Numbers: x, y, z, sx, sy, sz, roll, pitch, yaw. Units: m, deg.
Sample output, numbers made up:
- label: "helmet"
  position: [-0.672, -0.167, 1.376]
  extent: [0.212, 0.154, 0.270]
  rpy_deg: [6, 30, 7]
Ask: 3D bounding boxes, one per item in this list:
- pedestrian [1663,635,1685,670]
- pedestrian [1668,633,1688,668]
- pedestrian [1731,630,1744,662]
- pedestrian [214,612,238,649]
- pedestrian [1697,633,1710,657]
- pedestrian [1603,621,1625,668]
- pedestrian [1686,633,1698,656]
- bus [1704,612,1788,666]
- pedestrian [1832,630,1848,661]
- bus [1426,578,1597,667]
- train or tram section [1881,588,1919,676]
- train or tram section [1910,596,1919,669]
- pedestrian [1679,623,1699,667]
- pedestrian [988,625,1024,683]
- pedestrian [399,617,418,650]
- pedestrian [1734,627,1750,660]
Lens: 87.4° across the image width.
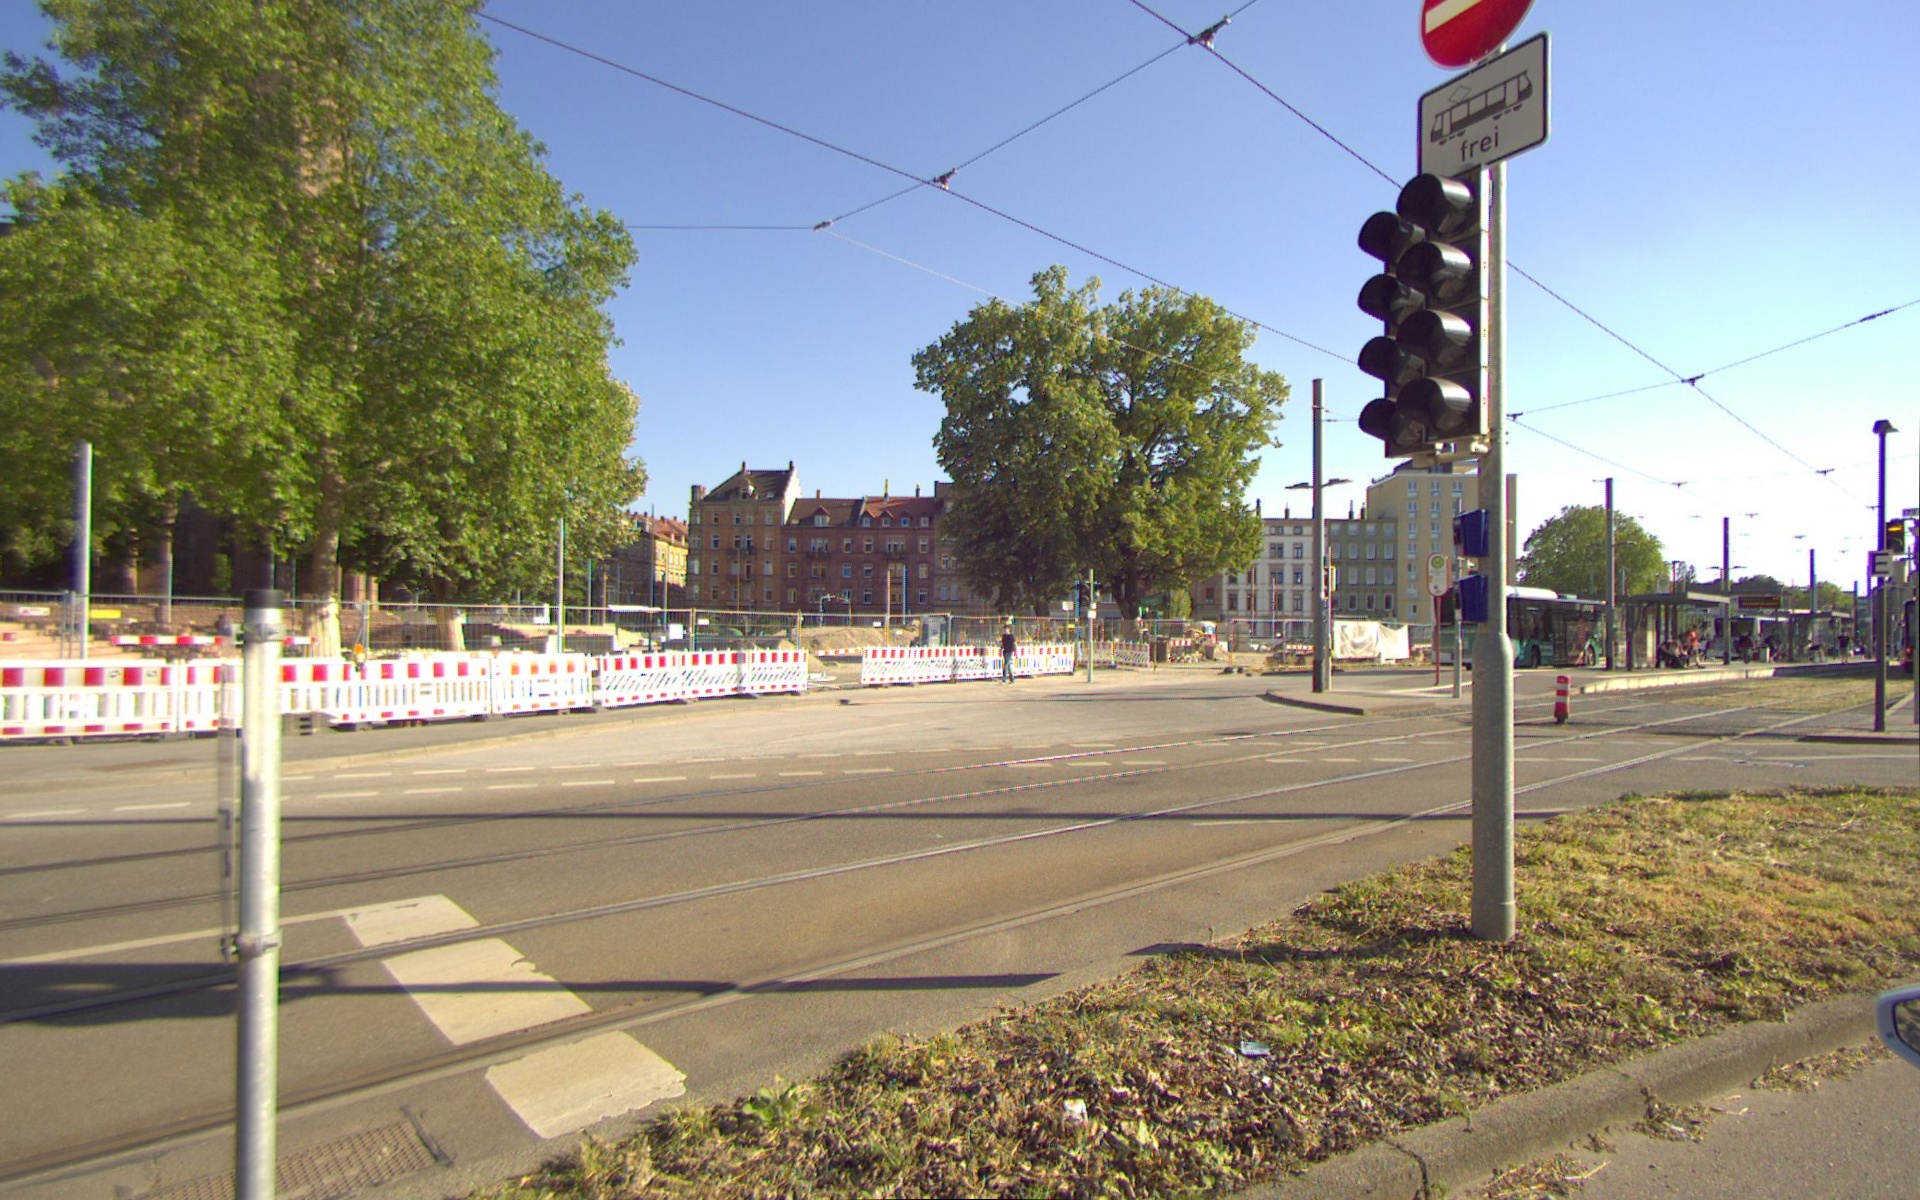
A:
- label: "pedestrian"
  position: [27.667, 2.020, 38.929]
  extent: [0.609, 1.358, 0.438]
  rpy_deg: [-1, -2, 44]
- label: "pedestrian"
  position: [28.176, 1.984, 39.405]
  extent: [0.564, 1.363, 0.636]
  rpy_deg: [-1, -2, 43]
- label: "pedestrian"
  position: [44.646, 2.636, 57.673]
  extent: [0.564, 1.772, 0.636]
  rpy_deg: [-1, -2, 41]
- label: "pedestrian"
  position: [-33.401, 1.400, 45.711]
  extent: [0.665, 1.669, 0.635]
  rpy_deg: [1, -1, -18]
- label: "pedestrian"
  position: [55.611, 3.380, 75.135]
  extent: [0.568, 1.772, 0.632]
  rpy_deg: [2, -2, -41]
- label: "pedestrian"
  position: [25.065, 1.700, 38.470]
  extent: [0.554, 1.772, 0.534]
  rpy_deg: [2, -2, -35]
- label: "pedestrian"
  position: [55.451, 3.378, 76.079]
  extent: [0.567, 1.772, 0.633]
  rpy_deg: [2, -2, -36]
- label: "bus"
  position: [53.954, 2.633, 68.746]
  extent: [13.376, 3.317, 2.694]
  rpy_deg: [2, 0, -44]
- label: "pedestrian"
  position: [50.736, 2.607, 57.922]
  extent: [0.629, 1.772, 0.570]
  rpy_deg: [-1, -2, 34]
- label: "bus"
  position: [21.994, 0.901, 39.747]
  extent: [9.564, 3.177, 2.631]
  rpy_deg: [2, 0, -40]
- label: "train or tram section"
  position: [44.749, 1.493, 45.825]
  extent: [12.108, 3.644, 2.855]
  rpy_deg: [2, 0, -42]
- label: "train or tram section"
  position: [53.886, 1.821, 53.778]
  extent: [12.100, 3.644, 2.987]
  rpy_deg: [2, 0, -40]
- label: "pedestrian"
  position: [29.555, 1.812, 40.725]
  extent: [0.564, 1.772, 0.636]
  rpy_deg: [-1, -2, 43]
- label: "pedestrian"
  position: [1.396, 1.651, 30.374]
  extent: [0.699, 1.719, 0.899]
  rpy_deg: [-1, -4, 33]
- label: "pedestrian"
  position: [-27.746, 1.675, 50.549]
  extent: [0.751, 1.669, 0.671]
  rpy_deg: [1, -1, -26]
- label: "pedestrian"
  position: [41.295, 2.296, 53.049]
  extent: [0.629, 1.772, 0.570]
  rpy_deg: [-1, -2, 34]
